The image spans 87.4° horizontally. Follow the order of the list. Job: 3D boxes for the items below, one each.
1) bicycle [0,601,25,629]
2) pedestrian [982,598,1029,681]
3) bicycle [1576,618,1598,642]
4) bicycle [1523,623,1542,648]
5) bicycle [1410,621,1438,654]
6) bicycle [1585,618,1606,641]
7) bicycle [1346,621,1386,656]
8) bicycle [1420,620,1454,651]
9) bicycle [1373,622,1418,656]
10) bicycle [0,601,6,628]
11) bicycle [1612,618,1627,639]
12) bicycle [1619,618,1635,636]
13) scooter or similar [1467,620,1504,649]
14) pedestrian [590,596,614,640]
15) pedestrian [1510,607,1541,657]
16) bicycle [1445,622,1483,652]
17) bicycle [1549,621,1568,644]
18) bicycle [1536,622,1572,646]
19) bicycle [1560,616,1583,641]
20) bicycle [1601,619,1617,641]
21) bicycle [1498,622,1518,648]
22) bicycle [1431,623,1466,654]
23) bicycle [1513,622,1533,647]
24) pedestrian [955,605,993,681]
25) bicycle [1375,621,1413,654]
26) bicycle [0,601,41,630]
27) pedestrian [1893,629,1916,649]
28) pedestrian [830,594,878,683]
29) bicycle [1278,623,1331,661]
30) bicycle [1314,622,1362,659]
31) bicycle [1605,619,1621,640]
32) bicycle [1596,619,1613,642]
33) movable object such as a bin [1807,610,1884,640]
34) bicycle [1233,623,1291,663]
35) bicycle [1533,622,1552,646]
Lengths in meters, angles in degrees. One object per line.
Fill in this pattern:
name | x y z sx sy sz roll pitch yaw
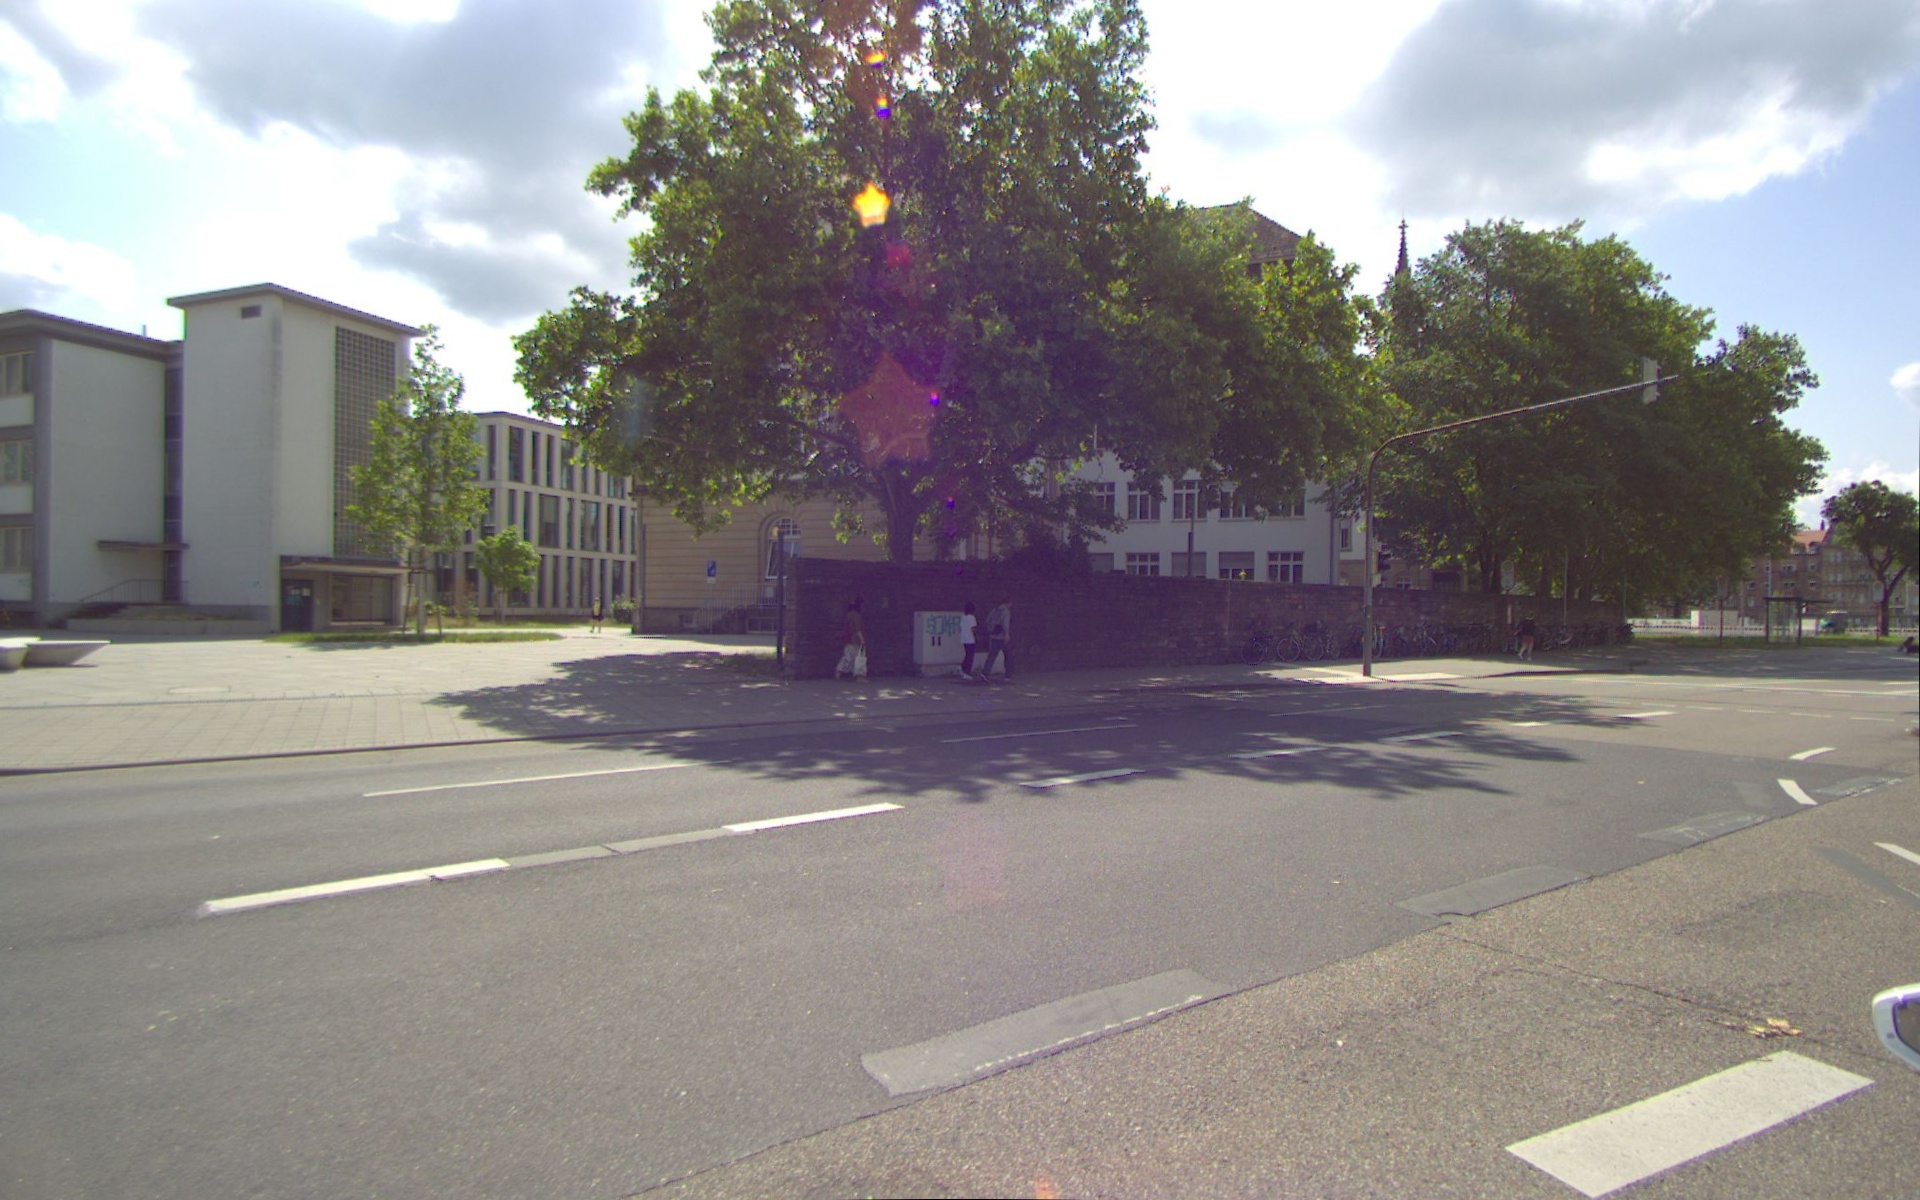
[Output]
bicycle | -35.430 0.551 36.592 0.683 1.028 1.909 1 0 26
pedestrian | 0.949 0.808 20.818 0.724 1.673 0.636 1 0 -37
bicycle | 29.381 1.395 47.066 0.576 1.088 1.746 1 0 43
bicycle | 23.673 1.460 41.535 0.362 0.968 1.394 1 0 43
bicycle | 15.673 1.258 33.924 0.583 1.062 1.876 1 0 34
bicycle | 30.758 1.431 48.630 0.575 1.088 1.746 1 0 42
bicycle | 12.986 1.215 32.093 1.866 1.062 0.367 1 0 -41
bicycle | 16.842 1.245 35.442 1.866 1.062 0.390 1 0 -41
bicycle | 13.991 1.237 32.247 1.866 1.062 0.586 1 0 -41
bicycle | -36.429 0.532 36.881 0.683 1.028 1.909 1 0 26
bicycle | 36.456 1.559 55.486 0.575 1.088 1.625 1 0 37
bicycle | 40.758 1.643 61.368 0.575 1.088 1.860 1 0 41
scooter or similar | 19.873 1.290 37.978 1.866 1.062 0.575 1 0 -41
pedestrian | -16.976 0.861 47.669 0.673 2.040 0.869 1 0 15
pedestrian | 18.860 1.065 33.513 0.738 1.631 0.651 1 1 -39
bicycle | 18.431 1.337 36.698 1.866 1.062 0.575 1 0 -41
bicycle | 26.358 1.439 44.228 0.366 0.968 1.617 1 0 43
bicycle | 24.486 1.419 41.397 1.601 0.968 0.365 1 0 -23
bicycle | 27.697 1.277 45.489 0.576 1.088 1.746 1 0 43
bicycle | 33.231 1.532 51.409 0.575 1.088 1.749 1 0 37
bicycle | 21.396 1.369 39.209 0.362 0.968 1.394 1 0 43
bicycle | 17.114 1.334 35.169 1.866 1.062 0.369 1 0 -41
bicycle | 22.684 1.379 40.473 0.362 0.968 1.394 1 0 43
pedestrian | 0.287 0.880 20.875 0.611 1.560 0.472 1 0 -37
bicycle | 14.431 1.236 33.370 1.866 1.062 0.367 1 0 -41
bicycle | -34.401 0.564 36.087 0.683 1.028 1.909 1 0 26
pedestrian | 47.649 1.957 50.665 0.735 0.976 0.690 1 1 -32
pedestrian | -2.037 0.722 19.251 0.720 1.673 0.556 1 0 -37
bicycle | 10.099 1.200 29.397 1.866 1.062 0.624 1 0 -41
bicycle | 11.553 1.222 30.679 1.866 1.062 0.559 1 0 -41
bicycle | 34.443 1.532 52.948 0.575 1.088 1.749 1 0 37
bicycle | 32.073 1.510 50.008 0.575 1.088 1.749 1 0 37
movable object such as a bin | 90.290 2.545 102.451 5.430 2.923 2.289 1 0 13
bicycle | 8.402 1.186 27.925 1.866 1.062 0.624 1 0 -41
bicycle | 24.723 1.445 42.621 0.362 0.968 1.394 1 0 43
